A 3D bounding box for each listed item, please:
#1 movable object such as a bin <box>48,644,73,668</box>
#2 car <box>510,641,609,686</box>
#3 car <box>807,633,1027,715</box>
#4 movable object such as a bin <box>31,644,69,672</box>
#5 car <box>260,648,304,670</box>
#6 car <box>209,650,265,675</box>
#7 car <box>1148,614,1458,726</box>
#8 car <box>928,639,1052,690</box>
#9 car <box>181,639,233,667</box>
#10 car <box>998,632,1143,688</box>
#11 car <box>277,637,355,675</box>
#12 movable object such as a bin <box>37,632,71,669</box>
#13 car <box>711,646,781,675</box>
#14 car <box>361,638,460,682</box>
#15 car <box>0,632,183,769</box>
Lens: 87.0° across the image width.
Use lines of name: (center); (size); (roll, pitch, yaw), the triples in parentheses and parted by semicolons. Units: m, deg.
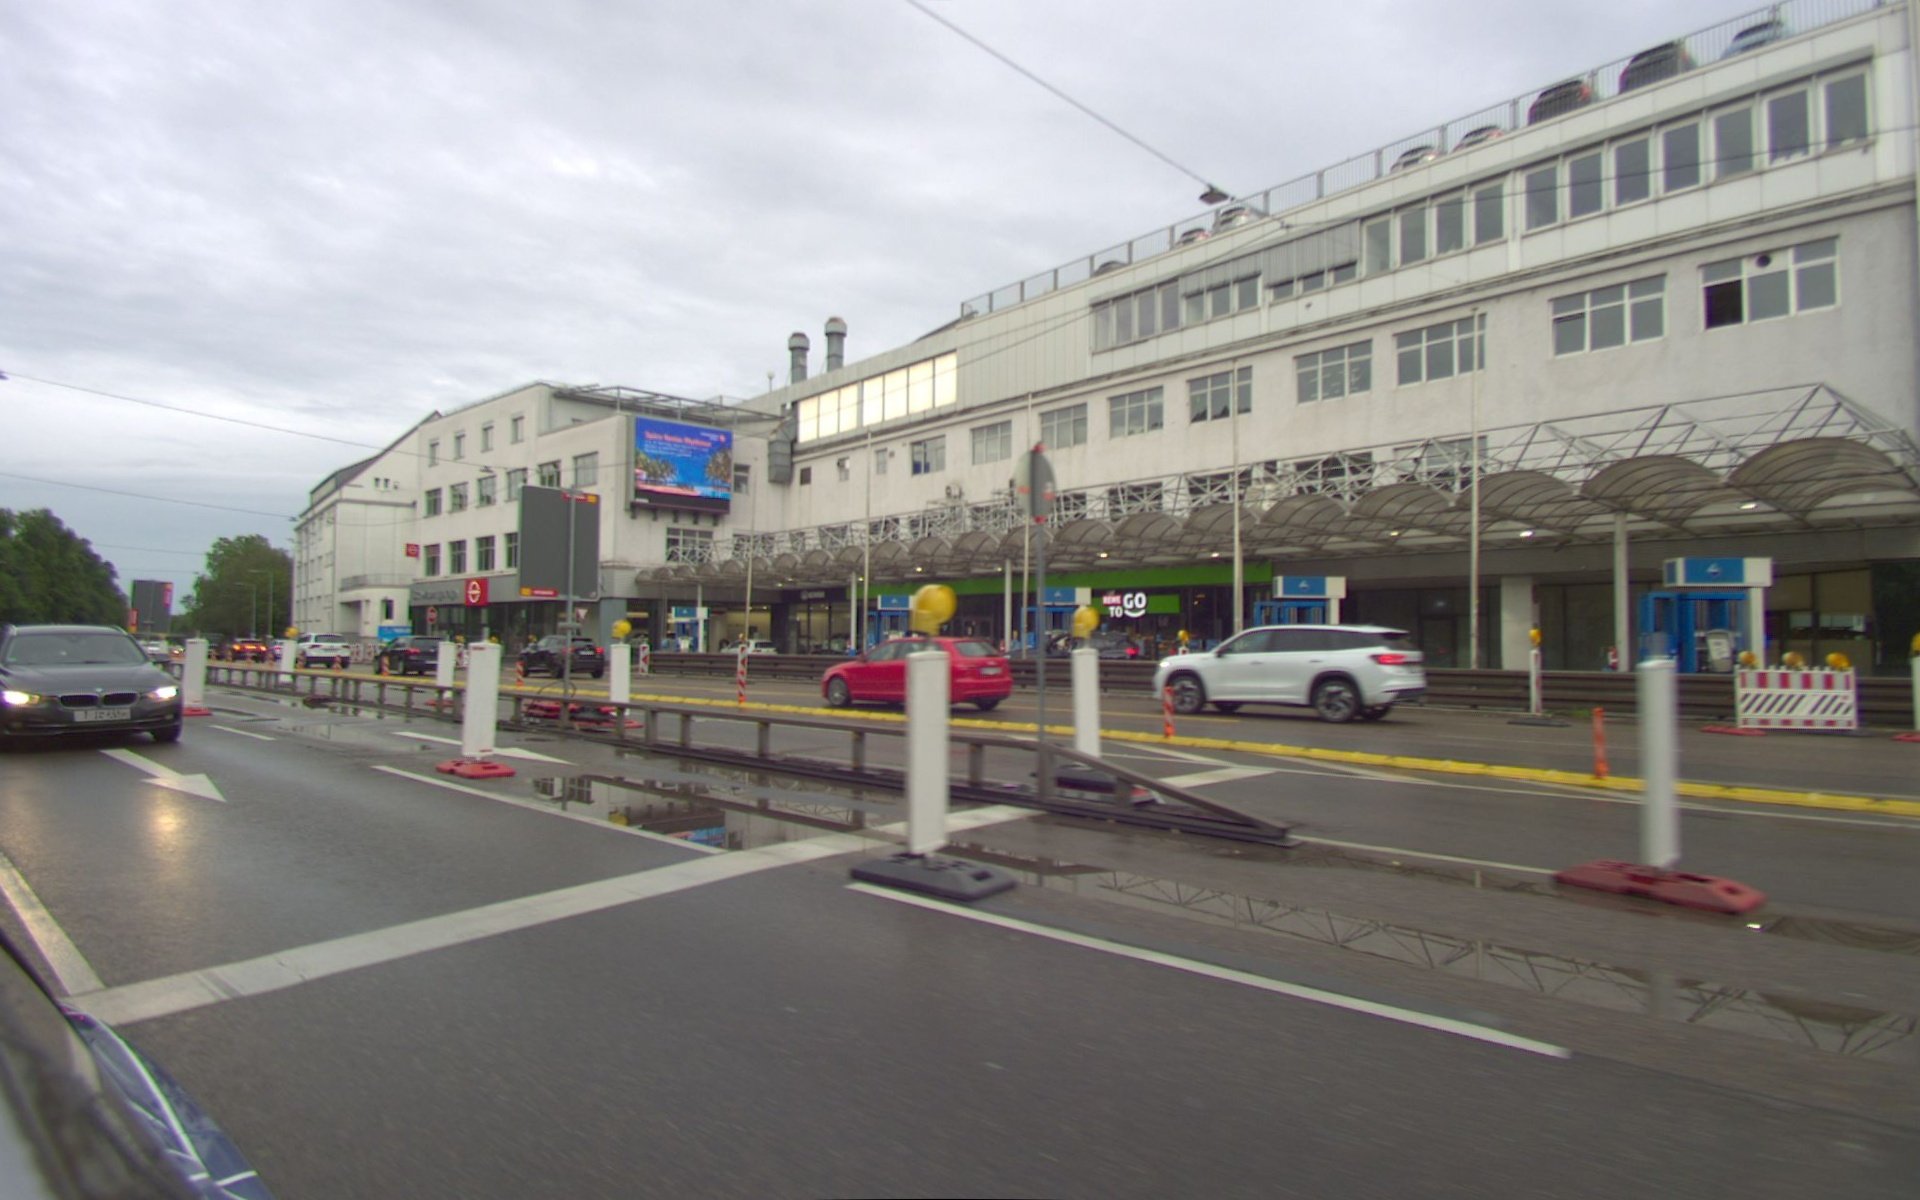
movable object such as a bin: (-79.080, 4.973, 88.998); (1.378, 2.060, 4.092); (4, -5, -40)
car: (-14.706, 2.309, 37.108); (4.076, 1.548, 1.692); (-2, -5, 42)
car: (-0.912, 1.358, 19.629); (4.287, 1.415, 1.717); (-2, -3, 41)
movable object such as a bin: (-71.305, 4.552, 79.331); (1.968, 2.128, 3.855); (4, -5, -40)
car: (-49.744, 4.316, 74.232); (4.265, 1.597, 1.728); (-2, -5, 43)
car: (-44.387, 3.827, 62.117); (4.706, 1.477, 1.831); (-2, -5, 42)
car: (5.926, 1.176, 17.910); (4.829, 1.720, 1.959); (-2, -4, 41)
car: (1.099, 2.440, 38.347); (4.376, 1.784, 1.970); (2, -4, -7)
car: (-54.645, 3.832, 73.391); (5.231, 1.951, 1.972); (-2, -5, 43)
car: (3.620, 2.003, 33.625); (4.409, 1.692, 2.017); (2, -4, -7)
car: (-30.357, 2.640, 47.655); (4.579, 1.703, 1.917); (-2, -4, 42)
movable object such as a bin: (-74.667, 4.179, 83.484); (1.799, 2.935, 3.612); (4, -6, -40)
car: (-11.624, 3.292, 54.838); (3.968, 1.494, 1.792); (-2, -5, 44)
car: (-20.679, 2.235, 38.015); (4.299, 1.533, 1.938); (-2, -4, 42)
car: (-11.388, 1.160, 12.738); (4.175, 1.461, 1.741); (-2, -3, 41)
